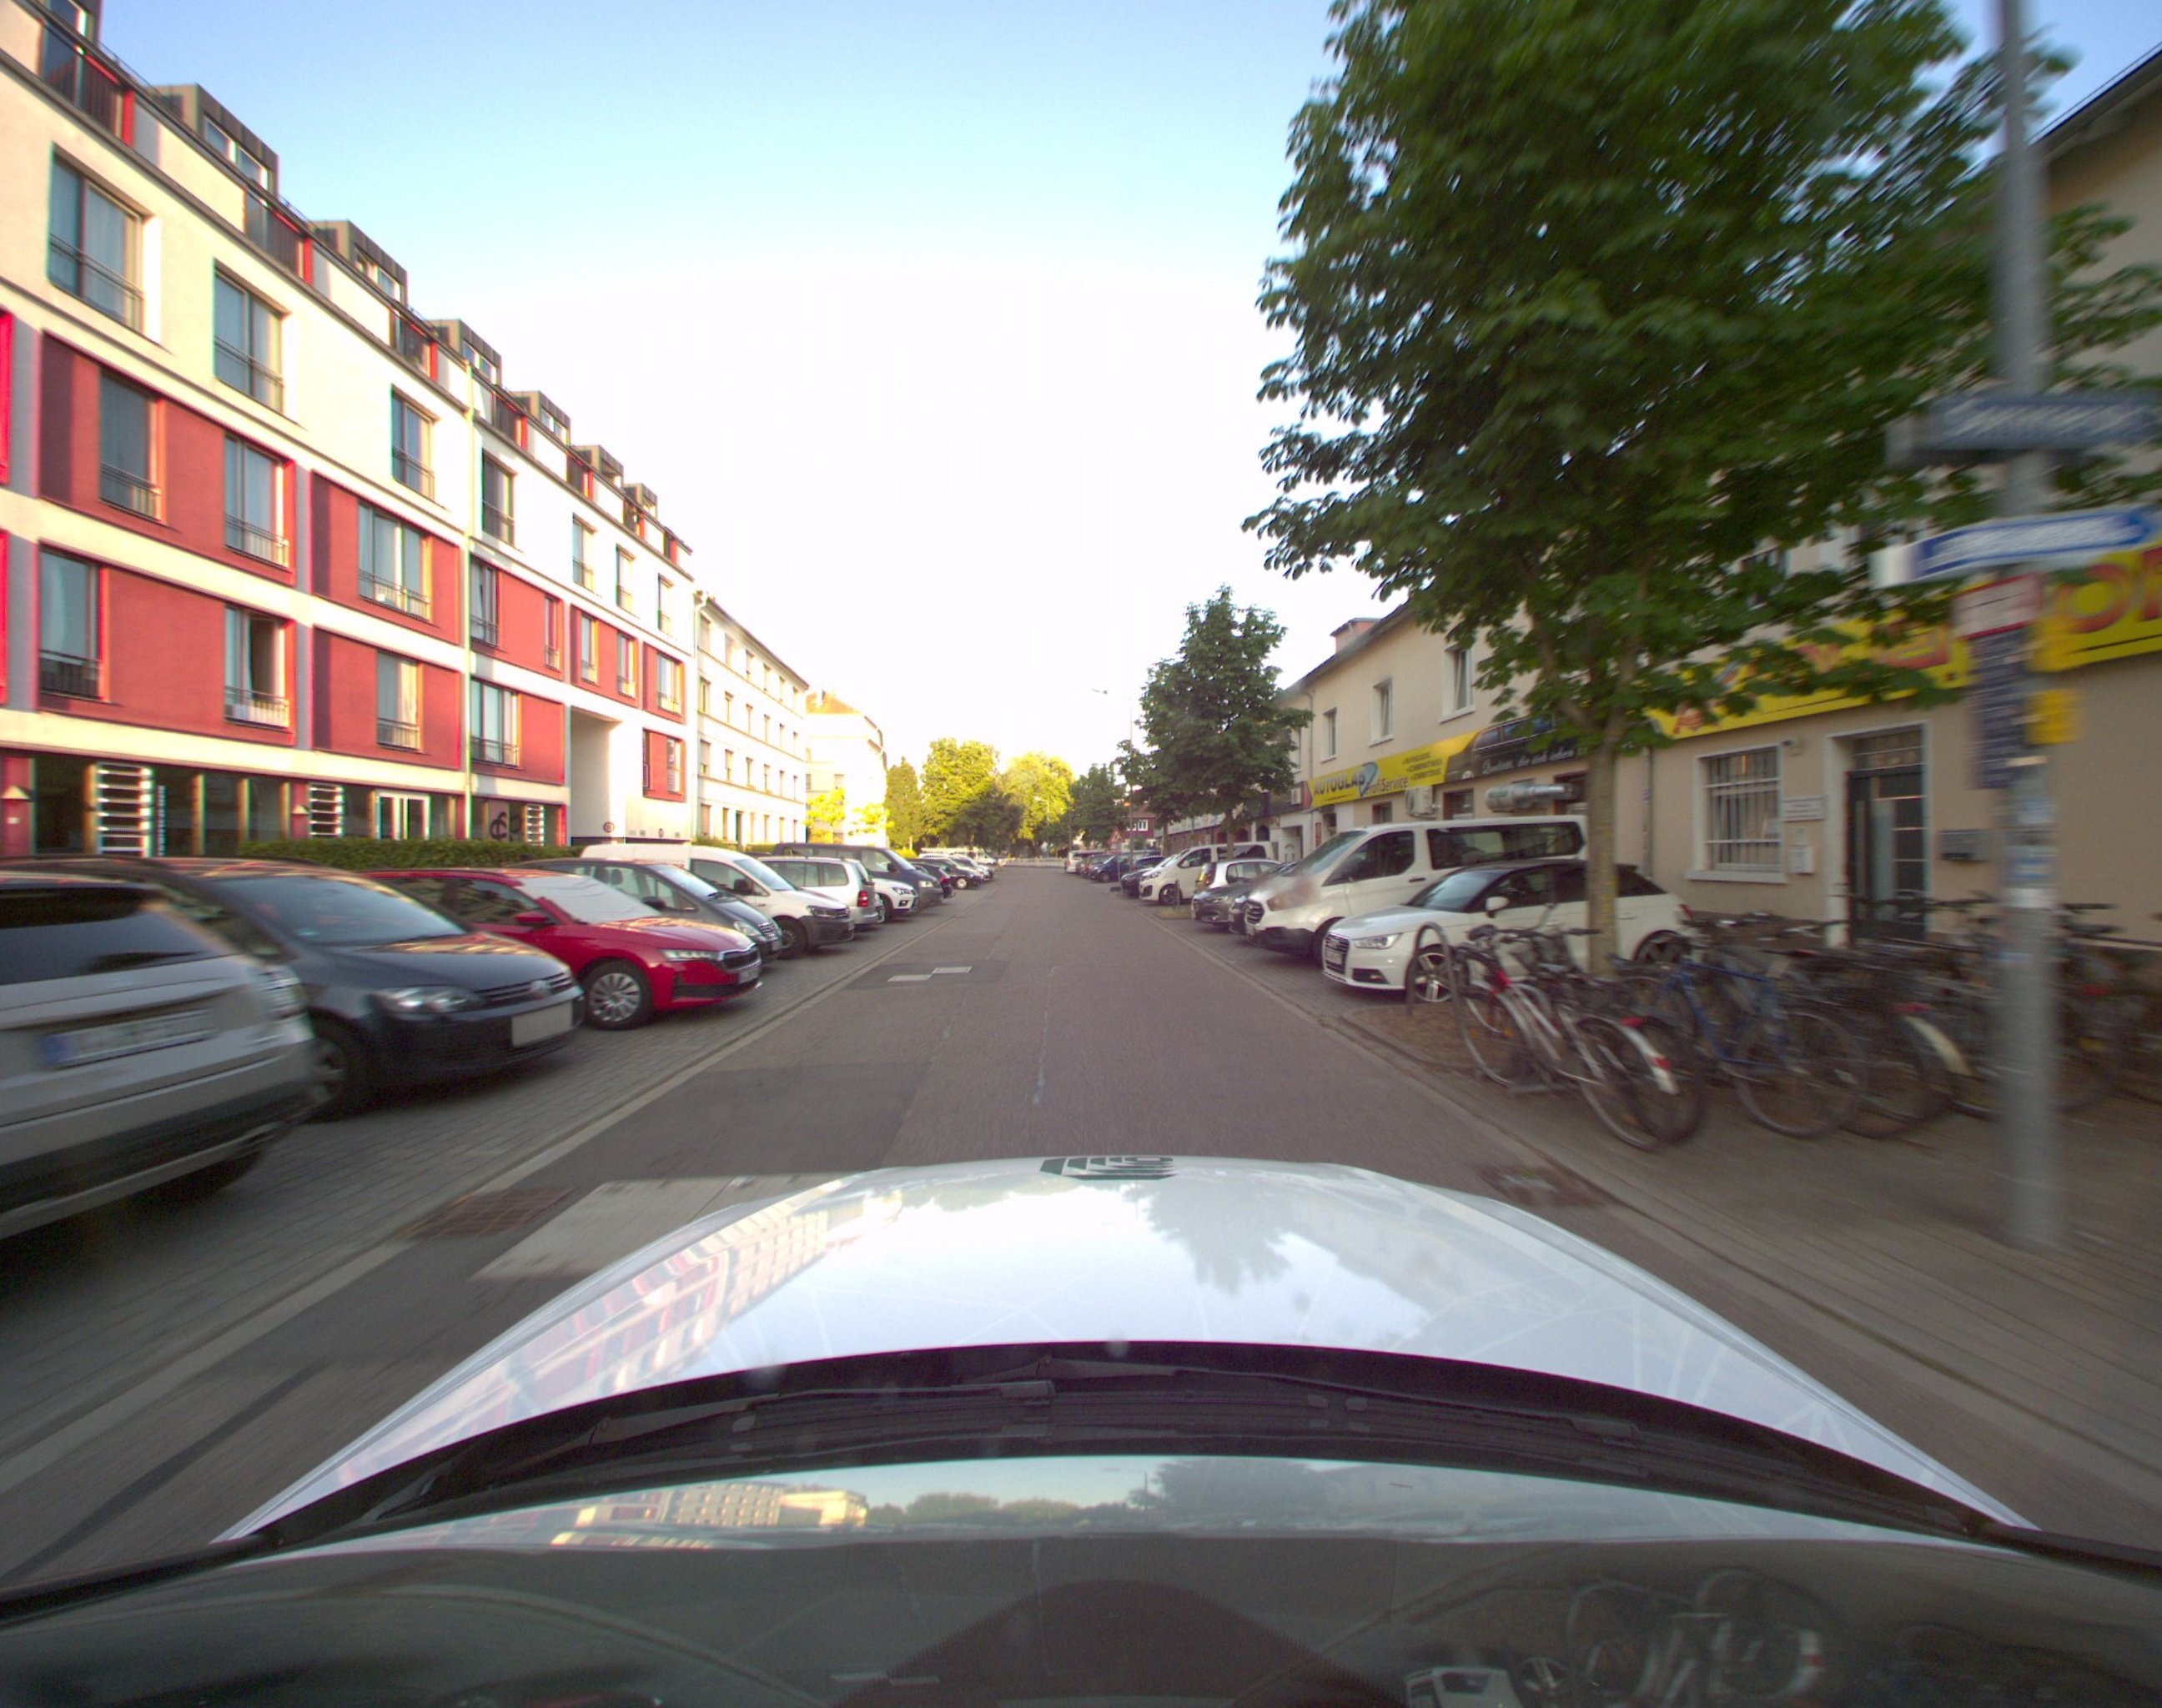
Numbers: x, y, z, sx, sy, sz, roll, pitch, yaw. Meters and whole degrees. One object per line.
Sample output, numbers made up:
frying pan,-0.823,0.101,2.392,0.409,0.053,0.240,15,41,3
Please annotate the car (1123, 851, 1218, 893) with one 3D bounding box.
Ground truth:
car,4.052,0.814,37.341,3.979,1.545,1.842,-4,0,-4

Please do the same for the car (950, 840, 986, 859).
car,-14.776,-0.563,106.615,4.505,2.431,1.992,0,-1,-12

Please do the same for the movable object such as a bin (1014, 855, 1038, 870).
movable object such as a bin,-8.989,1.415,132.154,2.636,2.403,5.164,0,-1,-19

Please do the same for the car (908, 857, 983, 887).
car,-7.680,1.038,46.476,3.981,1.484,1.752,3,0,-5

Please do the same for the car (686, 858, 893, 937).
car,-6.393,0.930,18.232,3.979,1.618,1.795,-1,0,-4

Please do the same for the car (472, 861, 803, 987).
car,-5.867,0.878,11.173,3.524,1.563,1.781,0,-1,-5

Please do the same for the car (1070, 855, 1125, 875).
car,1.225,0.833,61.954,3.980,1.510,1.773,0,-1,-5

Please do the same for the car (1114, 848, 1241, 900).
car,3.754,0.764,32.274,4.683,1.631,1.998,-4,0,-2

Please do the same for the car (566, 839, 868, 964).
car,-5.895,0.740,13.629,4.167,1.895,1.896,-1,-1,-3

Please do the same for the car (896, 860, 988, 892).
car,-6.977,1.121,41.334,4.402,1.452,1.824,2,-1,-6

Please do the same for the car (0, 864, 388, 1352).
car,-5.396,0.809,3.101,3.936,1.540,1.755,0,-1,-1

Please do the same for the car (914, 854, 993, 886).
car,-7.620,0.919,48.878,4.410,1.802,1.942,1,0,-2

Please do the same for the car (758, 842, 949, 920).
car,-6.338,0.743,23.111,4.839,2.055,2.000,-1,-1,0

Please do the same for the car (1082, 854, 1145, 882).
car,2.152,0.915,55.170,3.982,1.618,1.891,-3,0,-6

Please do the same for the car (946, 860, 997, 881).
car,-8.221,1.219,61.345,3.705,1.506,1.688,0,-1,-3

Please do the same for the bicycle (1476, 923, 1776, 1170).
bicycle,3.098,1.006,4.897,0.356,1.024,1.969,0,-1,-4

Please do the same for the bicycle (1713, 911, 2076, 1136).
bicycle,4.822,0.919,5.024,0.356,1.024,1.782,0,-1,-4

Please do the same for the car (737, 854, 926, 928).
car,-6.167,0.896,20.549,4.176,1.723,1.900,-1,0,-3

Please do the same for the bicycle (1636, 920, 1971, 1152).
bicycle,4.224,0.980,4.965,0.356,1.024,1.782,0,-1,-4

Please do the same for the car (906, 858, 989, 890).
car,-7.171,1.070,44.018,4.235,1.621,1.811,1,0,-4

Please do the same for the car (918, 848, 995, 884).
car,-7.846,0.722,51.543,4.499,2.070,1.999,2,0,-1

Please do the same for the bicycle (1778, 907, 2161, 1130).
bicycle,5.304,0.894,5.035,0.356,1.024,1.782,0,-1,-4

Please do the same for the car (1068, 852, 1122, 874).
car,1.113,0.745,67.605,4.294,1.799,1.901,0,-1,-5

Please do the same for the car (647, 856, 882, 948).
car,-6.045,0.877,16.083,3.989,1.589,2.045,-1,0,-12

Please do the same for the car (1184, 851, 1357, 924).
car,4.608,0.794,20.083,3.779,1.496,1.678,-3,0,-5

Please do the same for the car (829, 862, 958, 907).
car,-6.382,1.031,28.130,4.135,1.416,1.734,2,-1,-8

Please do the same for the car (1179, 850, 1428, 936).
car,4.632,0.802,17.436,4.712,1.496,1.997,-3,-1,-4

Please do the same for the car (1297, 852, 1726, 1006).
car,4.704,0.779,9.263,4.023,1.566,1.720,0,-1,-3

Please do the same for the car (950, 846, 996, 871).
car,-11.534,0.470,87.516,4.721,2.569,1.998,0,-1,-3

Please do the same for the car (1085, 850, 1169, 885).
car,2.779,0.826,49.788,4.779,1.753,2.014,-4,1,-5

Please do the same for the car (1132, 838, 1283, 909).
car,4.134,0.637,27.256,4.576,1.861,2.010,-5,0,-2

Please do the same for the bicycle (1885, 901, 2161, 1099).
bicycle,6.170,0.857,5.122,0.356,1.024,1.782,0,-1,-4

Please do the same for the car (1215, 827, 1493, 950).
car,4.748,0.584,14.676,4.278,1.858,2.000,-3,0,0

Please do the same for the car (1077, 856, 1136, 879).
car,1.778,0.969,57.638,3.943,1.565,1.815,0,-1,-8

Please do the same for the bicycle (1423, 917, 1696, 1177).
bicycle,2.706,0.995,4.887,0.356,1.100,1.969,0,-1,-4

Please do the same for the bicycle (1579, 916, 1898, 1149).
bicycle,3.818,0.952,4.947,0.356,1.024,1.824,0,-1,-4

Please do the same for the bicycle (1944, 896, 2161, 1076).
bicycle,6.608,0.815,5.127,0.356,1.024,1.782,0,-1,-4

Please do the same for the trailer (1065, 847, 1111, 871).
trailer,0.631,0.453,74.380,3.980,2.187,1.996,0,-1,-5

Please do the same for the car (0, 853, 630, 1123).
car,-5.612,0.810,5.740,3.874,1.617,1.699,0,-1,-1

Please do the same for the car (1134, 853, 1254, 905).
car,4.041,0.885,29.573,3.977,1.496,1.890,-5,0,-2

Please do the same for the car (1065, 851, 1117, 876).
car,0.769,0.757,65.051,3.981,1.904,1.996,0,-1,-6

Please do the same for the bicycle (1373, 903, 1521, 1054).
bicycle,3.053,0.984,6.973,0.356,1.024,1.782,0,-1,-4

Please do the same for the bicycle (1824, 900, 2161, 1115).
bicycle,5.725,0.849,5.129,0.356,1.024,1.782,0,-1,-4

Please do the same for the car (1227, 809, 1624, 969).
car,4.795,0.491,11.986,4.943,2.101,2.151,0,-2,1

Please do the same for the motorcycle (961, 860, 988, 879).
motorcycle,-8.276,1.176,63.249,1.985,1.436,0.719,0,-1,-10

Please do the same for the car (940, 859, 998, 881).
car,-8.100,1.139,59.045,3.978,1.583,1.727,0,-1,-3

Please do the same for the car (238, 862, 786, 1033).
car,-5.473,0.849,8.306,4.252,1.493,1.787,0,-1,-2
